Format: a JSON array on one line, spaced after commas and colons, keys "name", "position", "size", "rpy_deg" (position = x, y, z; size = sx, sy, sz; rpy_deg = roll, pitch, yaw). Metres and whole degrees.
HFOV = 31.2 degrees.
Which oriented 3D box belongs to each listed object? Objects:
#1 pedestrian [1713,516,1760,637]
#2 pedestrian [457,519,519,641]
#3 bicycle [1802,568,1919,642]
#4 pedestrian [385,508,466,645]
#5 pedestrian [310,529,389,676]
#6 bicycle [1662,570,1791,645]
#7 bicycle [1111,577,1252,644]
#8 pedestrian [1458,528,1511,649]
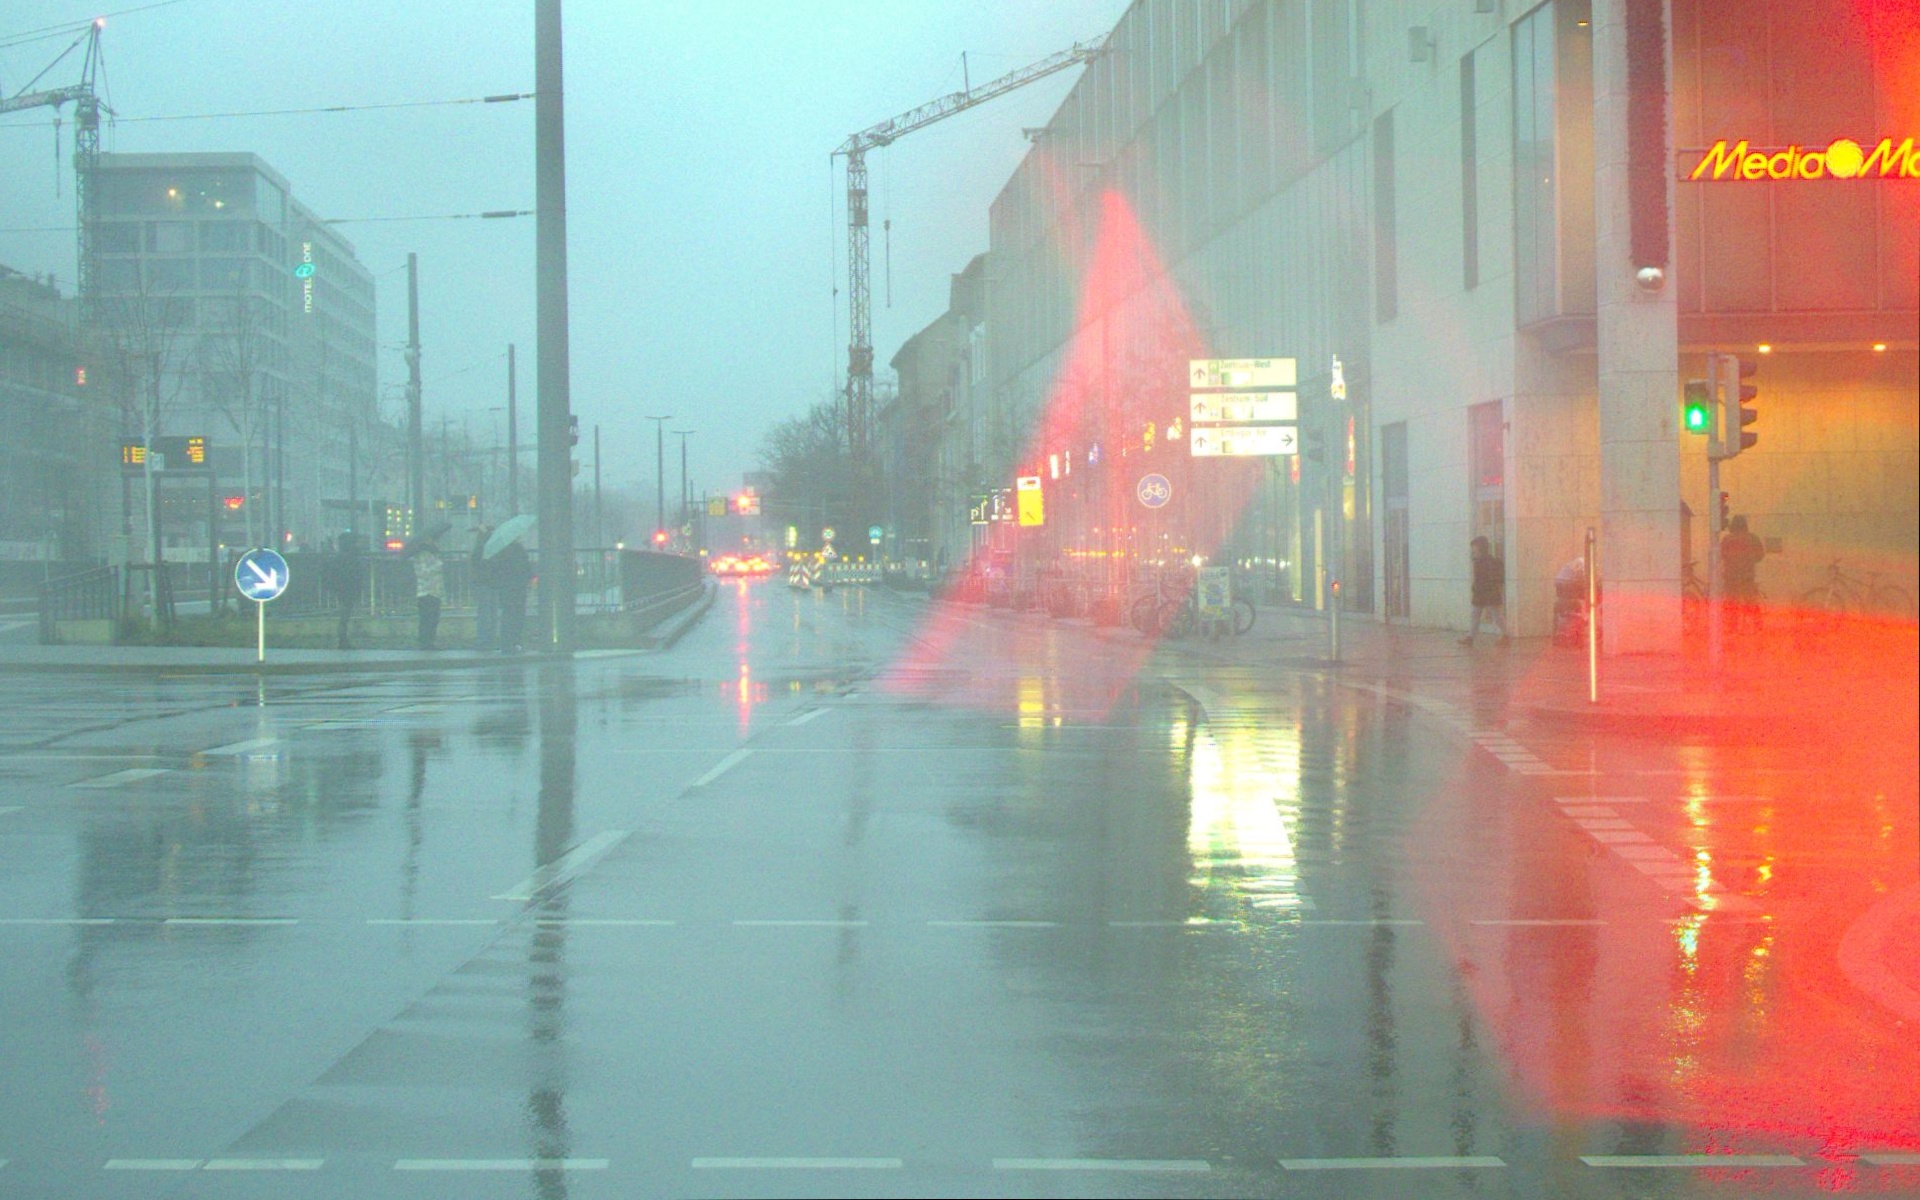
[{"name": "pedestrian", "position": [11.290, -0.342, 49.986], "size": [0.600, 1.739, 0.524], "rpy_deg": [1, 0, 8]}, {"name": "pedestrian", "position": [-6.584, -0.278, 47.963], "size": [0.612, 1.680, 0.577], "rpy_deg": [1, 1, 42]}, {"name": "bicycle", "position": [13.341, 0.067, 50.824], "size": [1.646, 1.066, 0.525], "rpy_deg": [1, 0, -4]}, {"name": "pedestrian", "position": [-7.227, -0.317, 46.483], "size": [0.821, 1.825, 0.786], "rpy_deg": [1, 0, -31]}, {"name": "pedestrian", "position": [-8.417, 0.030, 47.388], "size": [0.785, 2.007, 0.726], "rpy_deg": [1, 1, 42]}, {"name": "bicycle", "position": [11.295, 0.108, 50.690], "size": [1.767, 1.066, 0.525], "rpy_deg": [1, 0, -8]}, {"name": "bicycle", "position": [3.959, 0.180, 61.590], "size": [2.442, 1.150, 0.674], "rpy_deg": [-1, 0, -1]}, {"name": "pedestrian", "position": [7.506, -0.169, 49.190], "size": [0.636, 1.703, 0.573], "rpy_deg": [-1, 0, -1]}]
